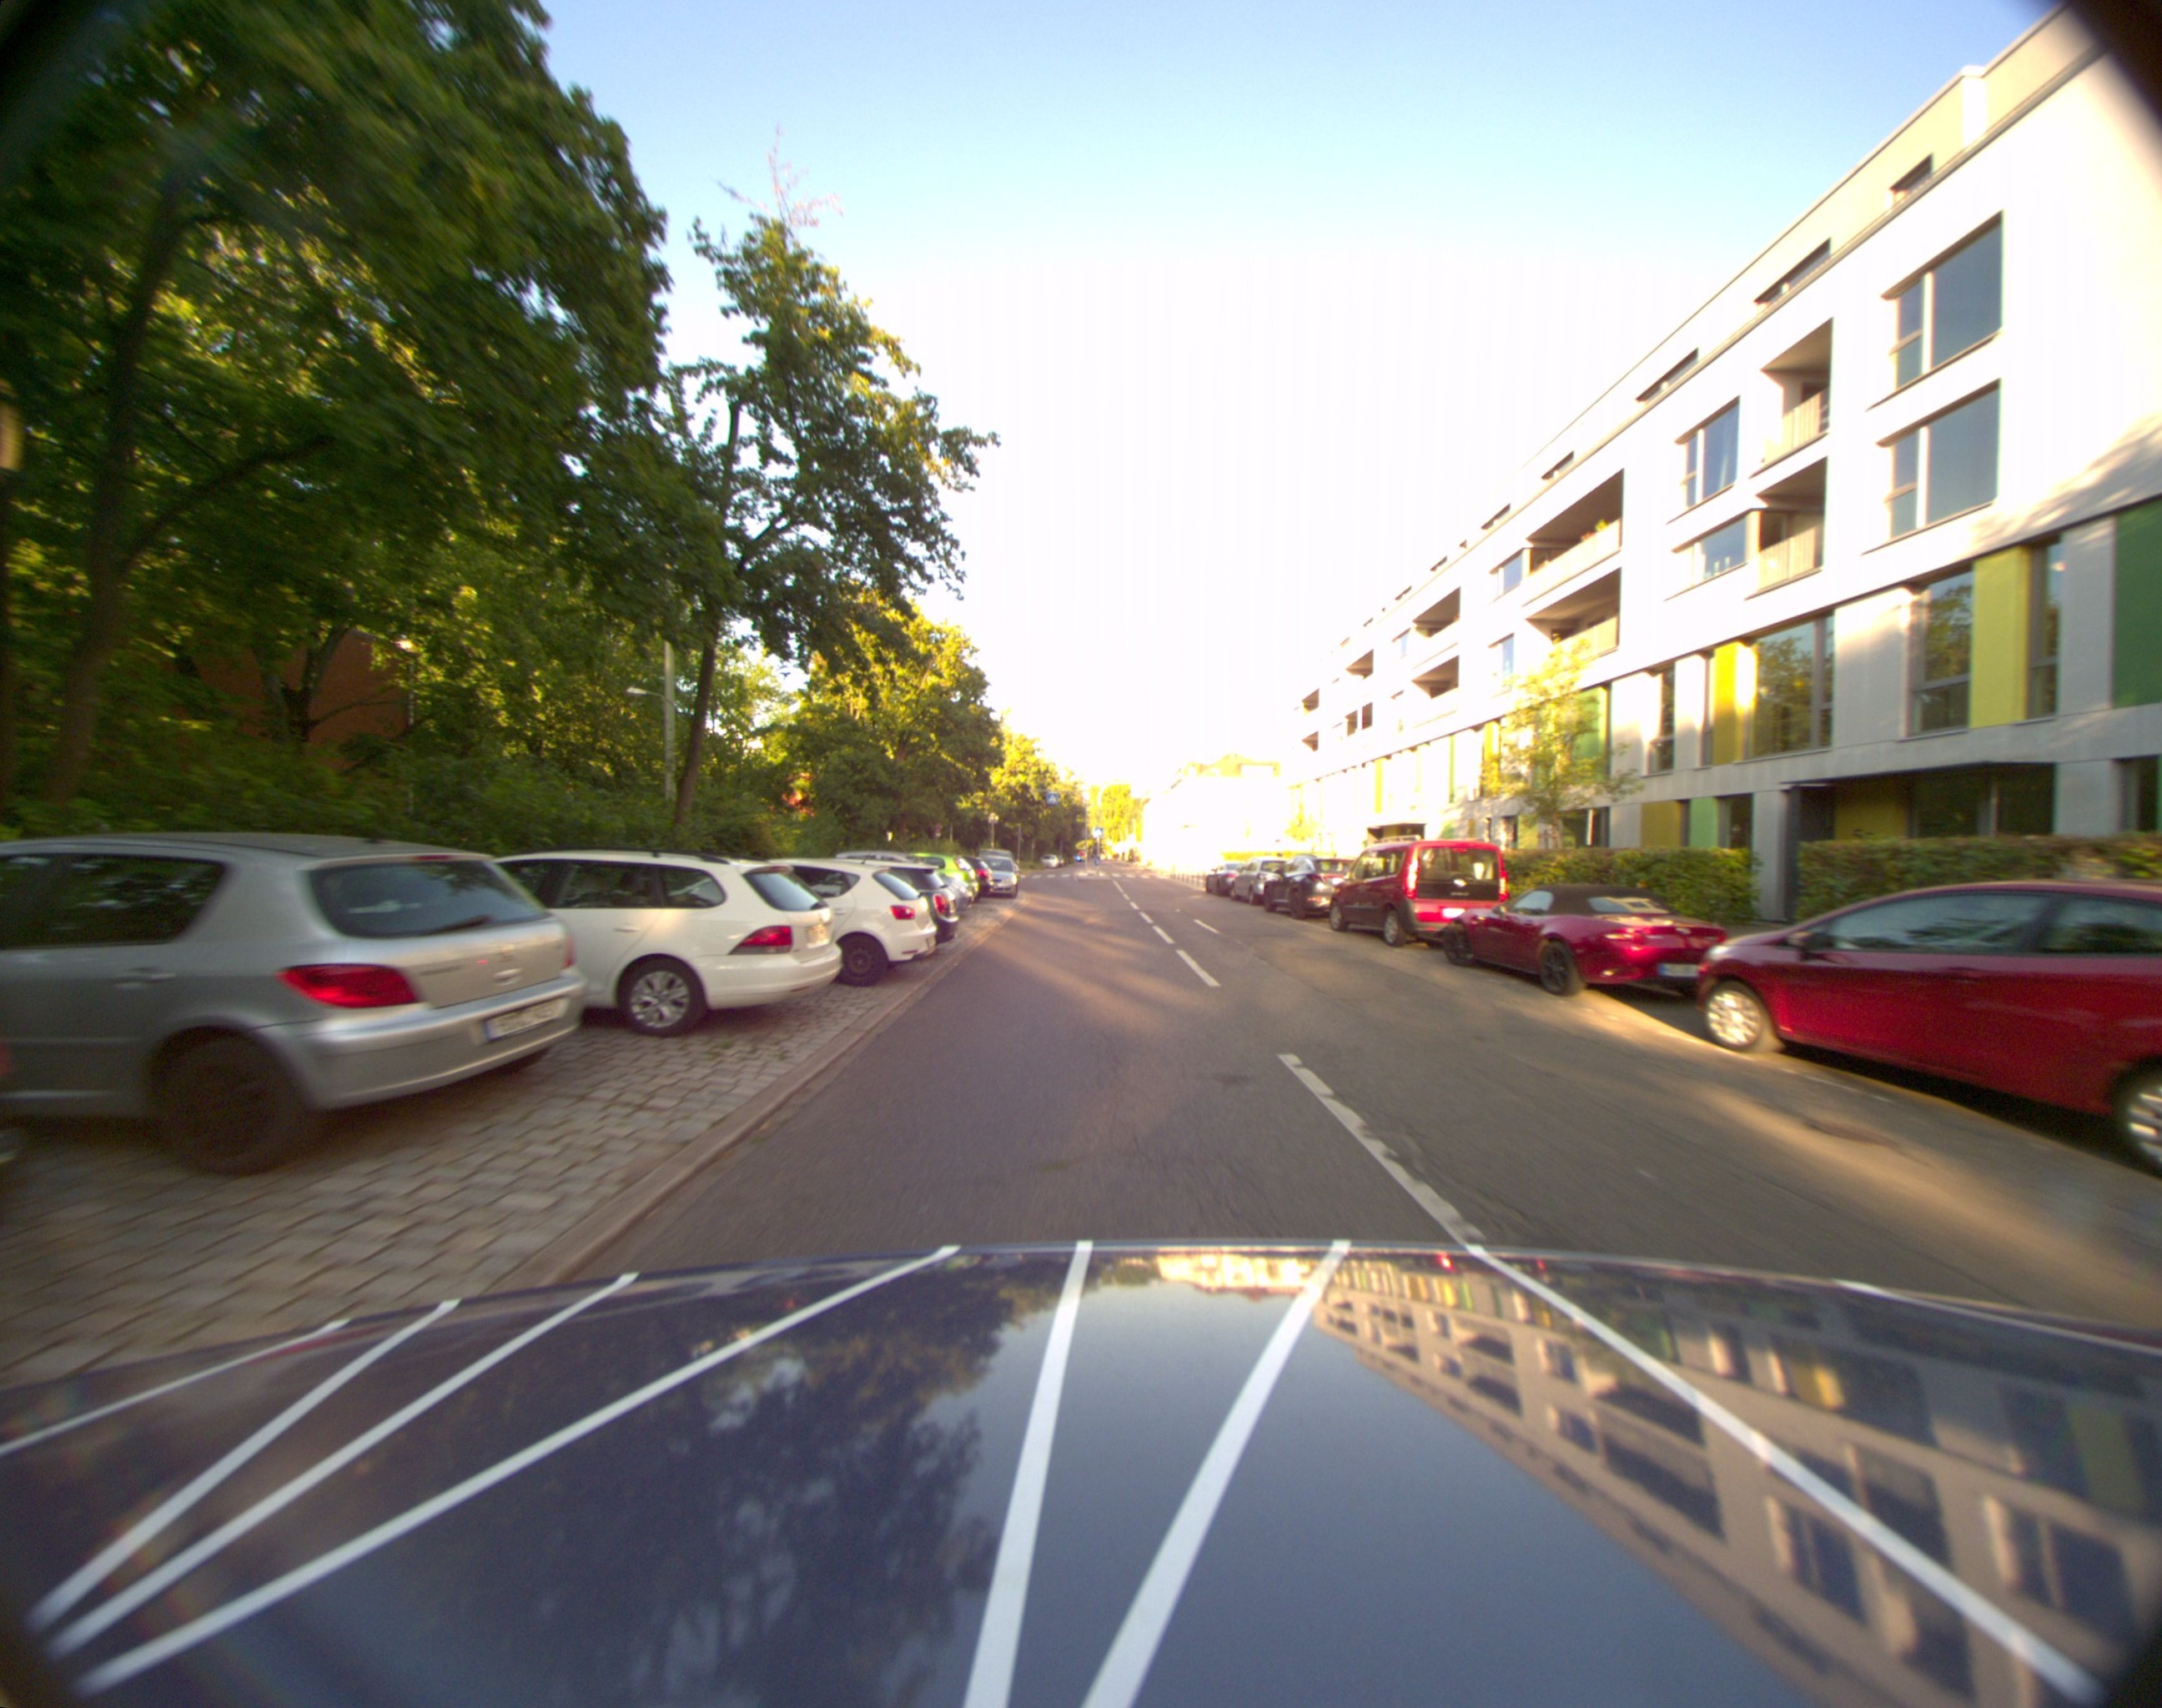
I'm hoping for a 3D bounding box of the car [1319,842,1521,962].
[{"bbox_3d":[6.093,0.777,14.285,1.812,1.878,4.238,2,0,-1],"label":"car"}]

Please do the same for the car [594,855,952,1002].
[{"bbox_3d":[-3.630,0.852,9.471,3.676,1.436,1.735,4,0,-2],"label":"car"}]

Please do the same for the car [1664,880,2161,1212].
[{"bbox_3d":[5.918,0.981,4.692,1.602,1.447,3.861,1,0,-1],"label":"car"}]

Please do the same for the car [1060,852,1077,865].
[{"bbox_3d":[-1.419,0.531,91.156,1.752,1.478,4.509,1,0,3],"label":"car"}]

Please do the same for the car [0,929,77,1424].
[{"bbox_3d":[-4.920,0.819,1.418,3.758,1.387,1.756,4,1,1],"label":"car"}]

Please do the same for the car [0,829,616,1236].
[{"bbox_3d":[-4.963,0.721,4.094,3.734,1.490,1.820,4,1,1],"label":"car"}]

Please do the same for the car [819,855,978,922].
[{"bbox_3d":[-4.290,0.791,18.193,3.394,1.517,1.671,0,1,0],"label":"car"}]

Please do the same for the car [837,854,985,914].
[{"bbox_3d":[-4.564,0.778,20.740,3.636,1.531,1.671,-1,1,1],"label":"car"}]

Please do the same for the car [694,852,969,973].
[{"bbox_3d":[-3.697,0.846,11.748,3.619,1.516,1.671,4,0,-2],"label":"car"}]

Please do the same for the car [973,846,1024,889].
[{"bbox_3d":[-3.729,0.540,33.615,1.928,1.738,4.661,1,0,-10],"label":"car"}]

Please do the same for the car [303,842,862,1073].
[{"bbox_3d":[-4.054,0.802,6.689,3.676,1.543,1.735,4,0,-2],"label":"car"}]

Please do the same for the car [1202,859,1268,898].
[{"bbox_3d":[6.039,0.934,30.225,1.746,1.349,4.396,1,0,0],"label":"car"}]

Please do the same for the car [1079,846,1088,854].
[{"bbox_3d":[0.628,-0.913,183.474,2.228,2.002,4.890,0,0,1],"label":"car"}]

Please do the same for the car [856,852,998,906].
[{"bbox_3d":[-4.629,0.724,23.222,3.959,1.503,1.739,1,1,0],"label":"car"}]

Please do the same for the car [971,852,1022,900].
[{"bbox_3d":[-2.983,0.744,27.369,1.655,1.558,4.299,1,0,-5],"label":"car"}]

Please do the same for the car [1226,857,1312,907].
[{"bbox_3d":[6.184,0.878,25.433,1.747,1.525,4.115,0,0,-2],"label":"car"}]

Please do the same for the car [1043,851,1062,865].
[{"bbox_3d":[-3.138,0.414,84.858,1.752,1.478,4.177,0,0,4],"label":"car"}]

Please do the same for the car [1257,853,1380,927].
[{"bbox_3d":[6.011,0.836,19.795,1.746,1.666,4.416,2,0,-1],"label":"car"}]

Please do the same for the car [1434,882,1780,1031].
[{"bbox_3d":[5.984,1.068,9.257,1.560,1.272,3.732,2,0,-1],"label":"car"}]
